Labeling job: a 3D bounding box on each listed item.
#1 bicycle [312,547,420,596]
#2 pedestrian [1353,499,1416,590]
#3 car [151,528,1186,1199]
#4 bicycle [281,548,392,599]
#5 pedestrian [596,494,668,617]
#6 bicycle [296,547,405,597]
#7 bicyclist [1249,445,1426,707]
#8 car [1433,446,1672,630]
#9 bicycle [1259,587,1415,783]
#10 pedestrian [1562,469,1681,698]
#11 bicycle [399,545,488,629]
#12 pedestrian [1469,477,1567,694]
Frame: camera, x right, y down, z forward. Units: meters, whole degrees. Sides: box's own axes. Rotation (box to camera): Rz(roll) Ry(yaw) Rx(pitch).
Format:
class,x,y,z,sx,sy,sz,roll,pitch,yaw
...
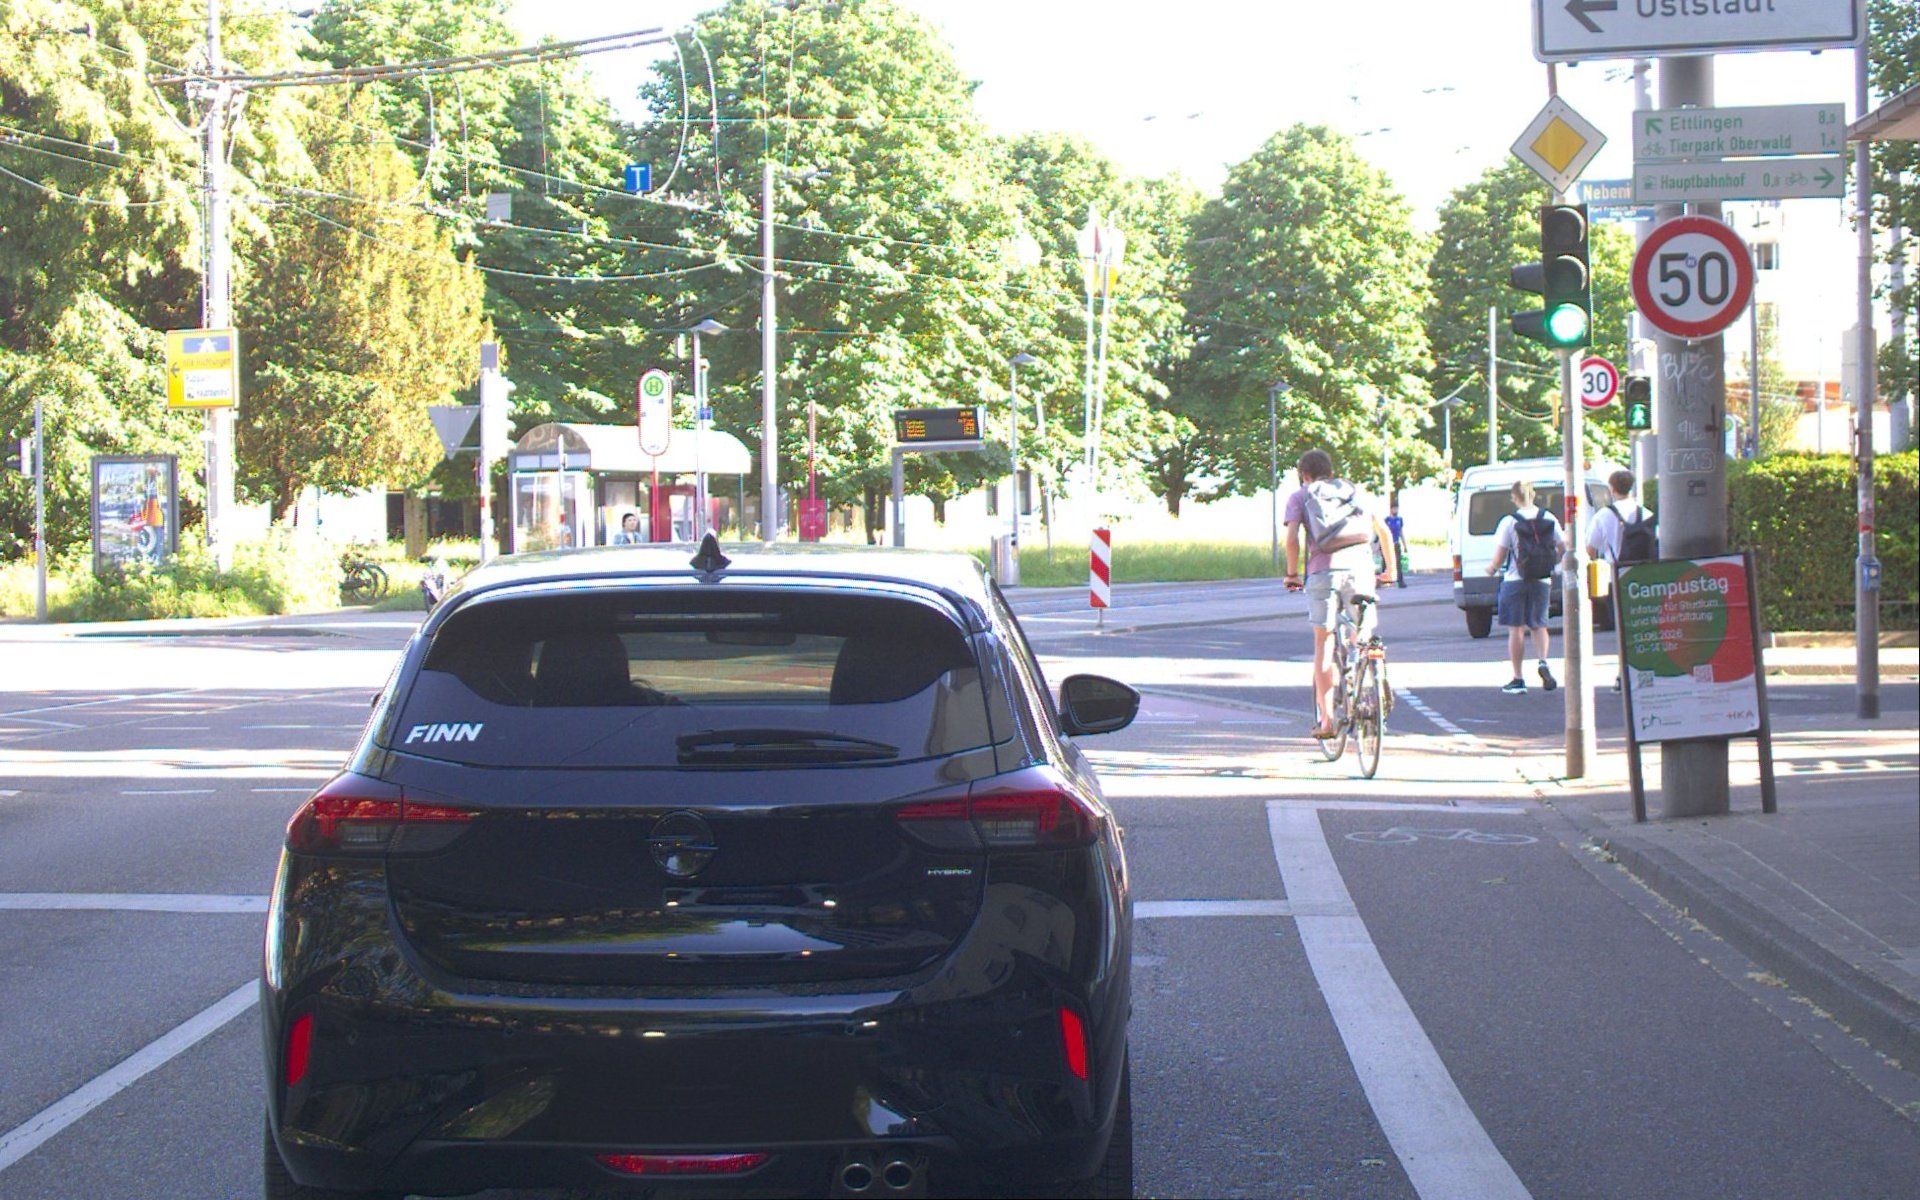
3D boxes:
class,x,y,z,sx,sy,sz,roll,pitch,yaw
bicycle,-11.141,-0.530,64.502,1.877,0.903,0.659,0,1,7
pedestrian,8.433,-1.104,68.299,0.959,1.786,0.994,0,1,25
car,-0.486,0.569,7.993,1.800,1.436,3.940,-1,1,1
bicycle,-11.356,-0.479,62.646,1.877,0.903,0.659,0,1,7
pedestrian,-4.561,-0.621,47.761,0.698,1.687,0.728,-2,2,-38
bicycle,-11.276,-0.517,63.631,1.877,0.903,0.659,0,1,7
bicyclist,2.234,-0.157,20.484,0.840,1.504,1.369,0,1,-3
car,7.795,-0.790,44.916,2.092,2.270,4.301,1,1,24
bicycle,2.222,0.477,20.486,0.667,1.056,2.082,0,1,-1
pedestrian,5.410,-0.140,28.118,0.704,1.840,0.699,0,2,39
bicycle,-6.816,-0.181,45.461,0.825,1.056,1.883,0,1,2
pedestrian,4.642,-0.128,28.624,0.698,1.786,0.617,-1,1,-1
